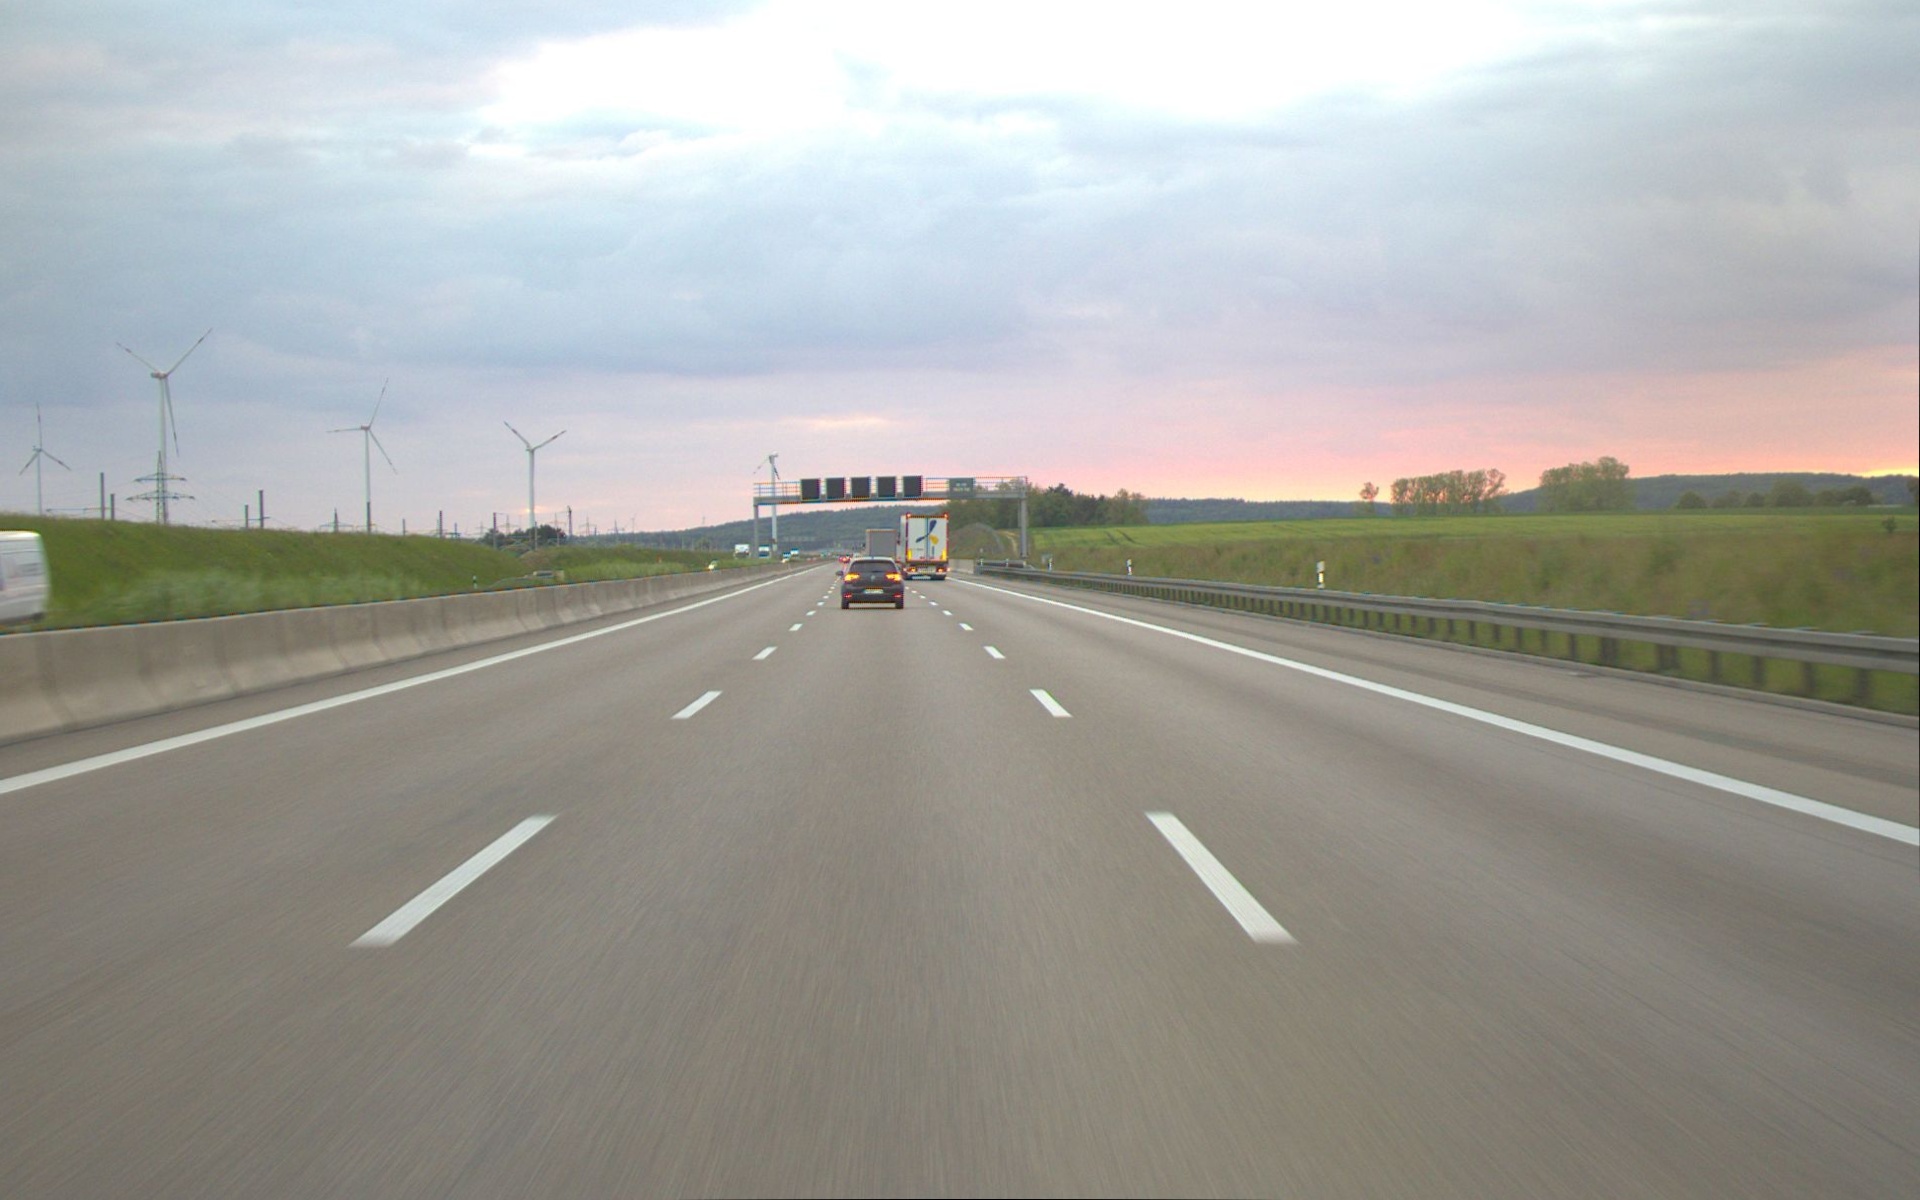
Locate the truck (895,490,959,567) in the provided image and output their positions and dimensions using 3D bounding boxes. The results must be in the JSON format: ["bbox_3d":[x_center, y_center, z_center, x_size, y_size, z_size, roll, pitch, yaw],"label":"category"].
[{"bbox_3d":[-2.104,-4.400,213.497,3.675,4.549,10.982,-1,1,-1],"label":"truck"}]

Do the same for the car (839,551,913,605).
[{"bbox_3d":[-2.330,-0.628,96.091,1.987,1.425,4.000,-1,1,0],"label":"car"}]

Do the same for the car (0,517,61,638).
[{"bbox_3d":[-21.170,-0.473,73.705,1.993,2.538,7.378,-1,1,-2],"label":"car"}]
